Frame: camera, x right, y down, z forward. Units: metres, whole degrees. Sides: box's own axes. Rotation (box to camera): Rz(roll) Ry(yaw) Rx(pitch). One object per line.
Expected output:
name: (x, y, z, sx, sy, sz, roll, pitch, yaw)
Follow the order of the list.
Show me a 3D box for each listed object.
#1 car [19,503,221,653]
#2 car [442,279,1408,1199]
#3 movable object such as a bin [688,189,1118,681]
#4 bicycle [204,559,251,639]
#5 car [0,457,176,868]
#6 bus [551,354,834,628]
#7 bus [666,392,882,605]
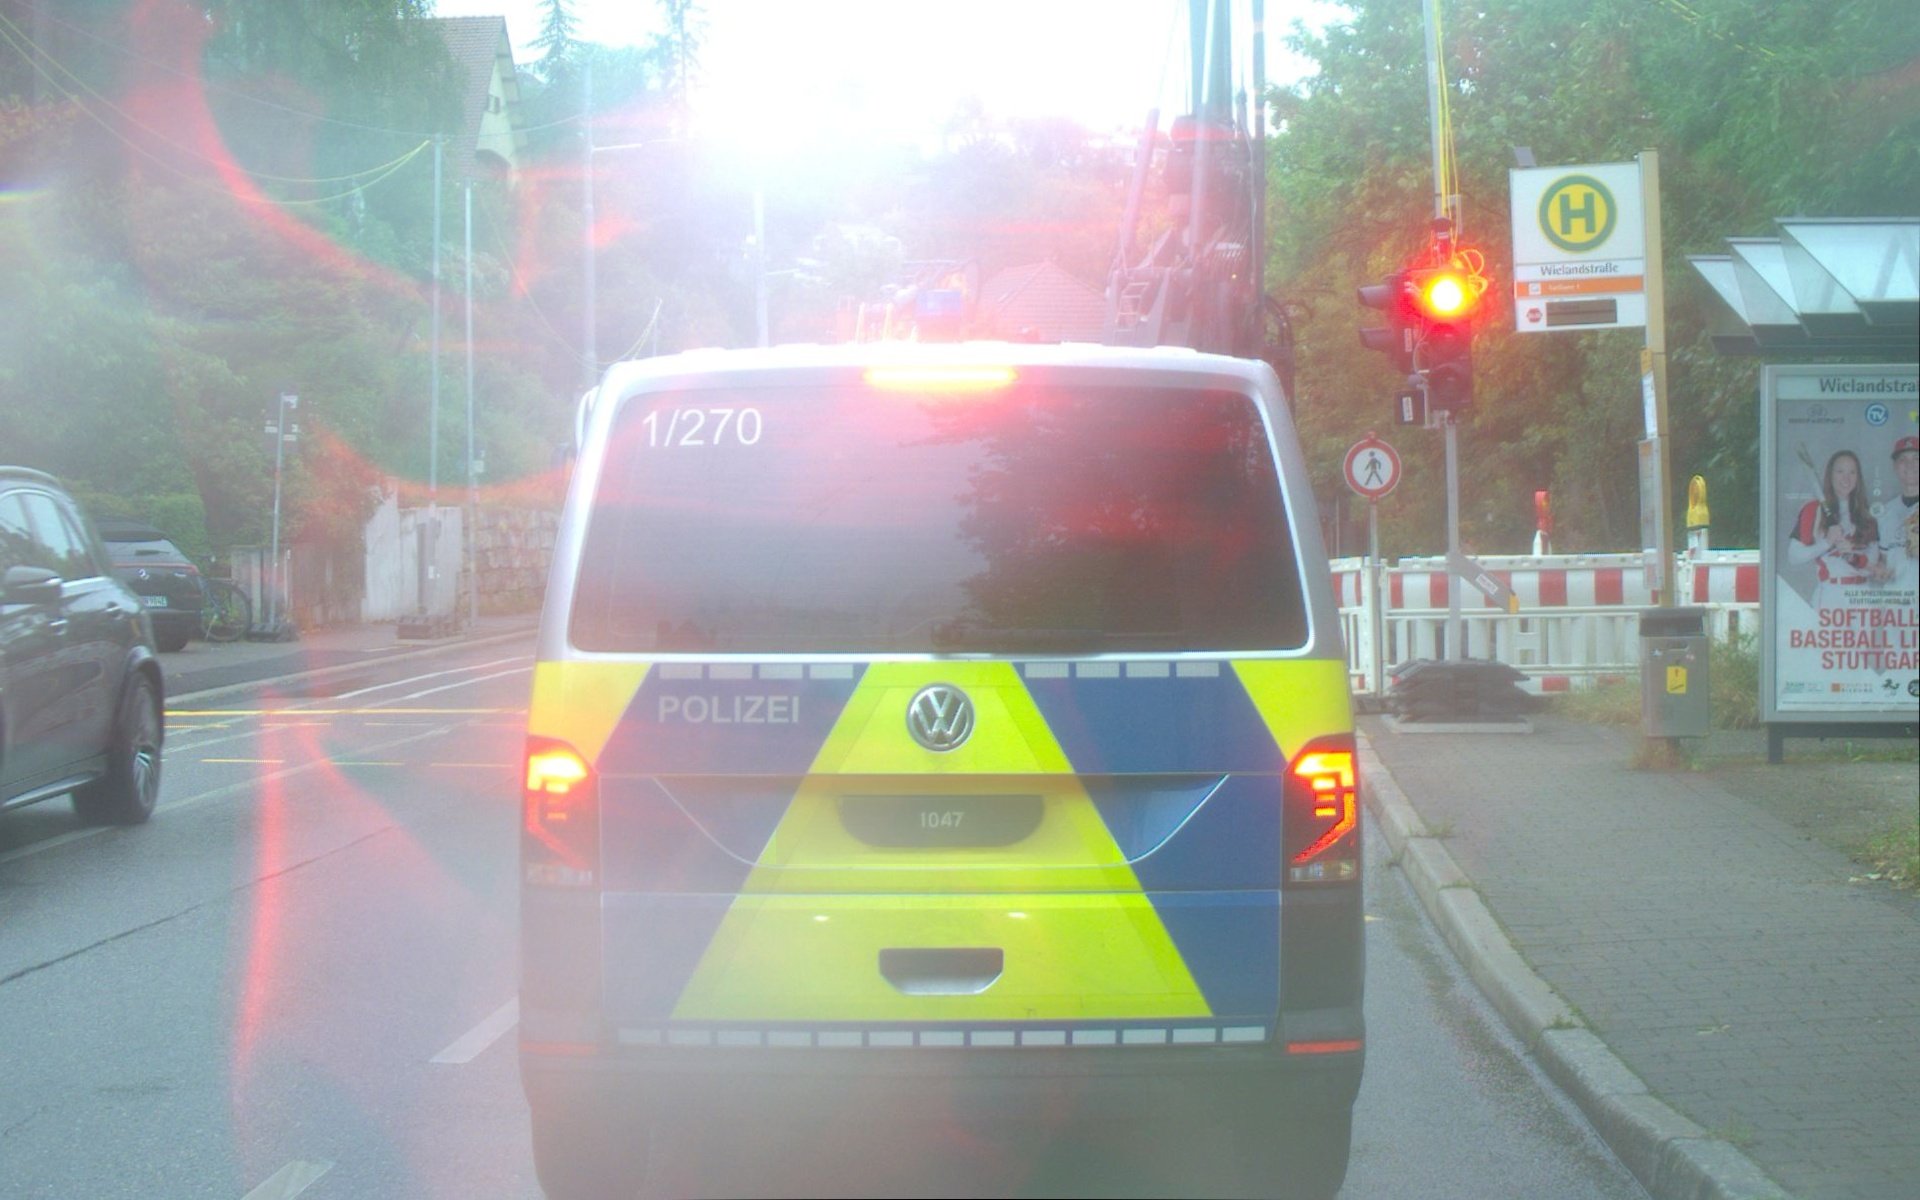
car: (-9.322, -0.280, 37.974, 1.765, 1.481, 3.743, 1, 3, -20)
car: (-0.094, 0.357, 8.830, 1.893, 2.043, 4.000, 1, 1, -1)
movable object such as a bin: (-0.420, -1.460, 31.630, 2.832, 4.163, 4.378, 1, 1, 15)
bicycle: (-8.441, -0.020, 39.591, 0.462, 0.894, 1.634, 0, 1, -15)
car: (-5.046, 0.230, 15.458, 1.979, 1.742, 4.553, 1, 1, 0)
bus: (-3.875, -1.609, 52.914, 2.841, 3.705, 12.005, 1, 1, 3)
bus: (-3.326, -1.858, 64.850, 2.841, 3.612, 12.005, 1, 1, 3)
